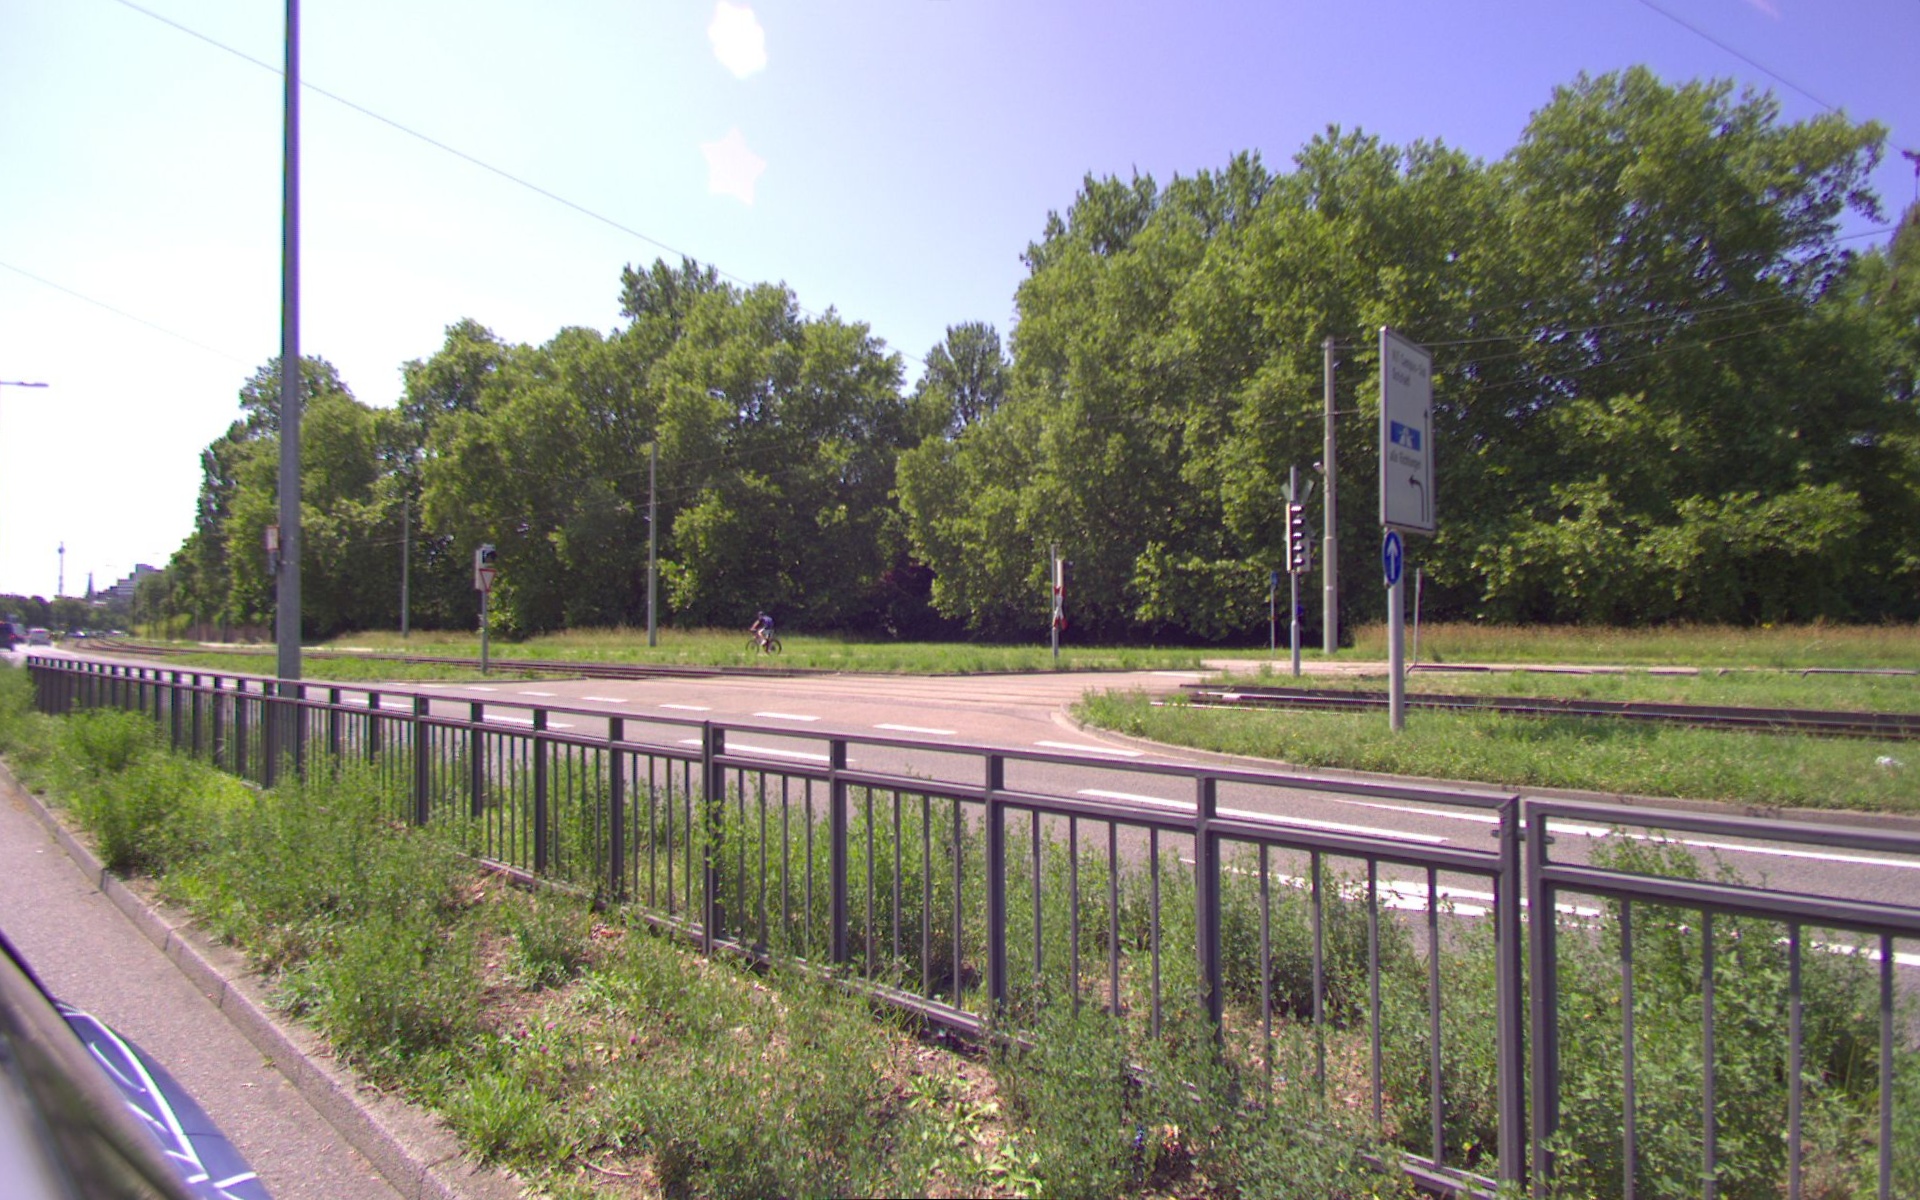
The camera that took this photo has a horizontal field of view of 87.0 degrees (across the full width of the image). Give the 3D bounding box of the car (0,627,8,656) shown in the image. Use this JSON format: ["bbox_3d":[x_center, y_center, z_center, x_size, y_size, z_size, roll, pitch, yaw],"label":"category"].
[{"bbox_3d":[-79.112,3.381,82.315,5.372,2.384,1.972,-2,-3,42],"label":"car"}]

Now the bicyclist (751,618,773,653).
[{"bbox_3d":[-7.798,1.391,39.809,0.679,1.346,0.503,-2,-2,35],"label":"bicyclist"}]

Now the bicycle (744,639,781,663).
[{"bbox_3d":[-7.791,1.993,39.830,1.562,0.908,0.503,-2,-2,36],"label":"bicycle"}]

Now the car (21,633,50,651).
[{"bbox_3d":[-105.613,4.849,115.626,5.029,2.029,1.972,-3,-4,42],"label":"car"}]
